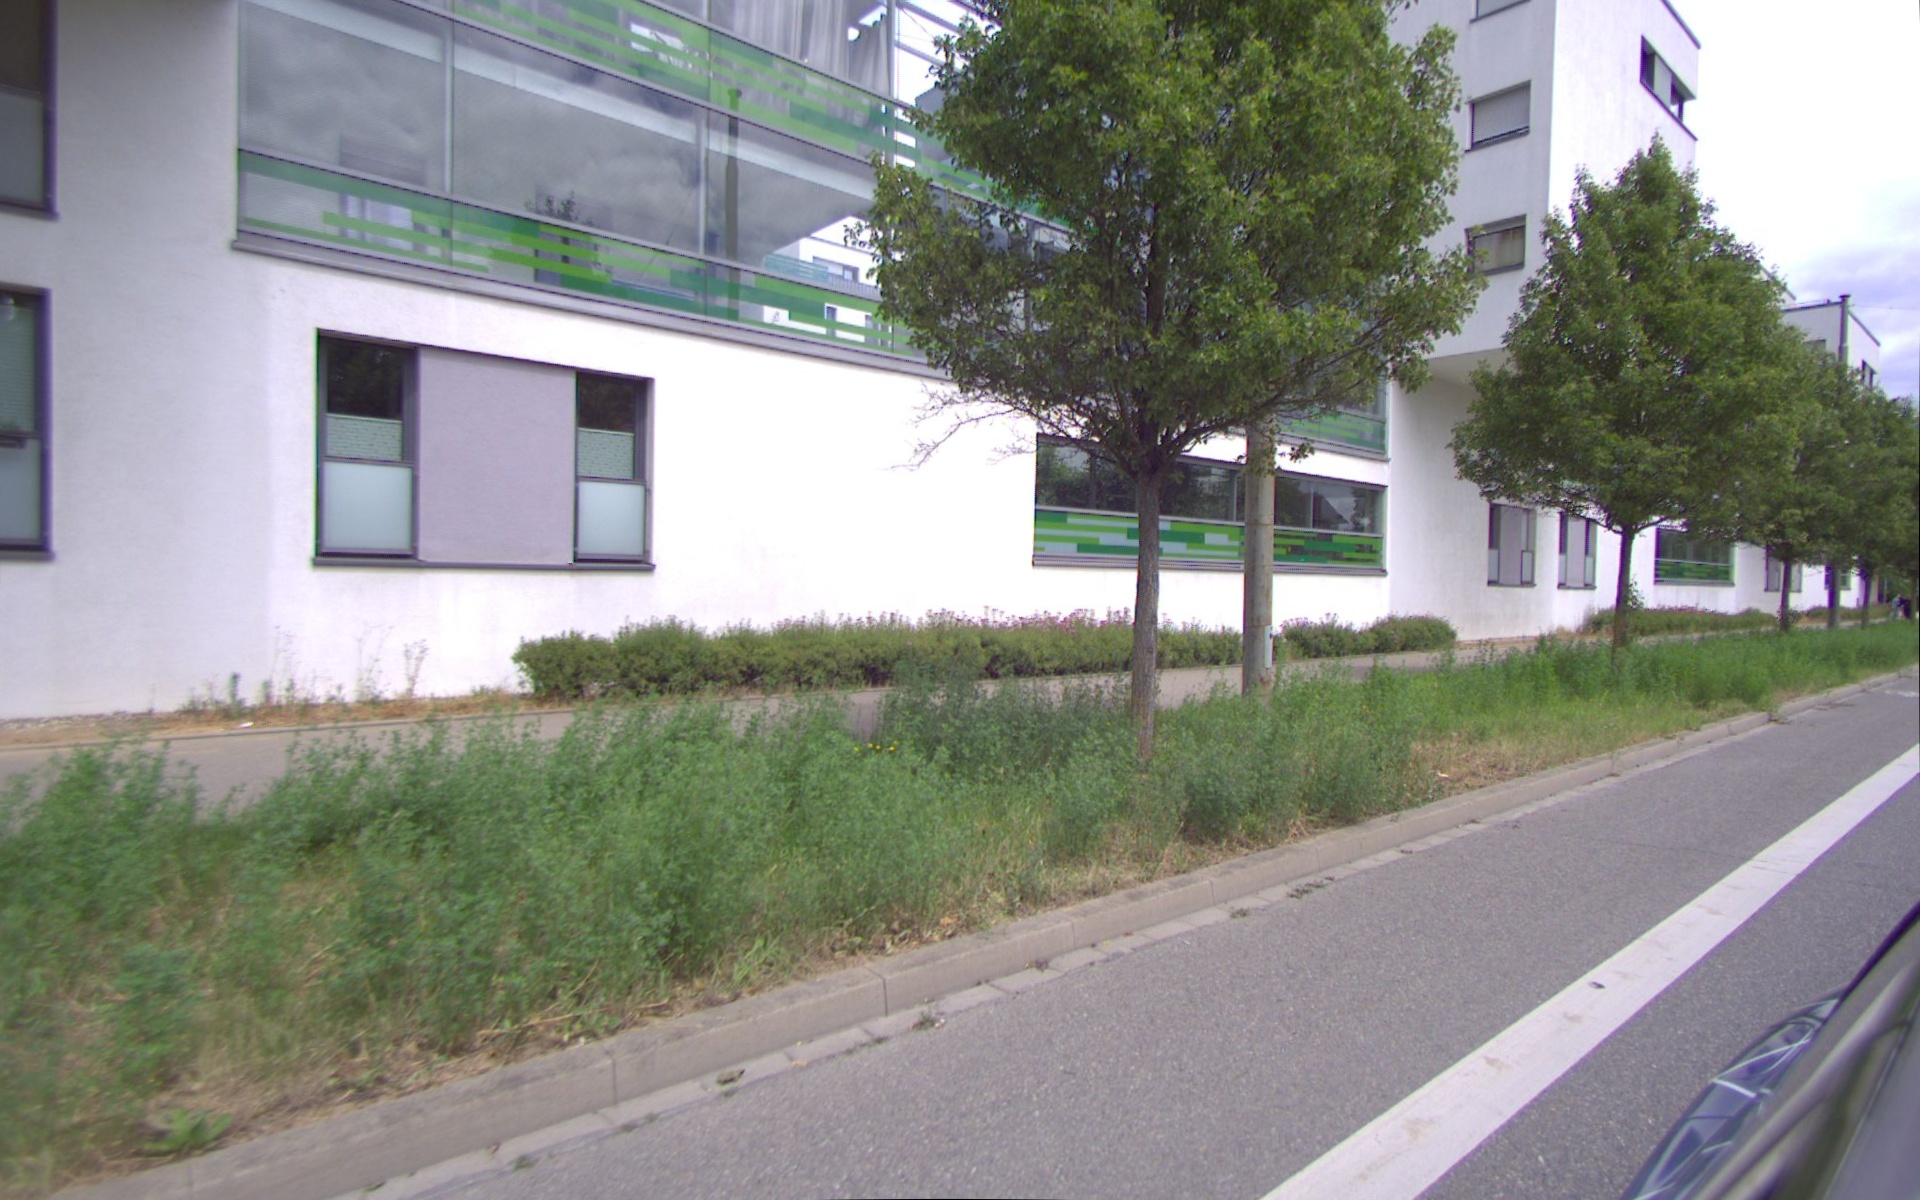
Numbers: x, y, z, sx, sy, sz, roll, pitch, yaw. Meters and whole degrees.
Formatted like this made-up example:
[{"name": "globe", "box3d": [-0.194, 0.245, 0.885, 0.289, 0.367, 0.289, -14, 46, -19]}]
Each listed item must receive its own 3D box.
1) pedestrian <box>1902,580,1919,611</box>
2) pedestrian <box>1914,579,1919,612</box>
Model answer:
[{"name": "pedestrian", "box3d": [56.917, -0.266, 60.560, 0.613, 1.864, 0.584, -1, 0, 23]}, {"name": "pedestrian", "box3d": [56.978, -0.276, 59.855, 0.690, 1.910, 0.740, -1, 0, -43]}]
